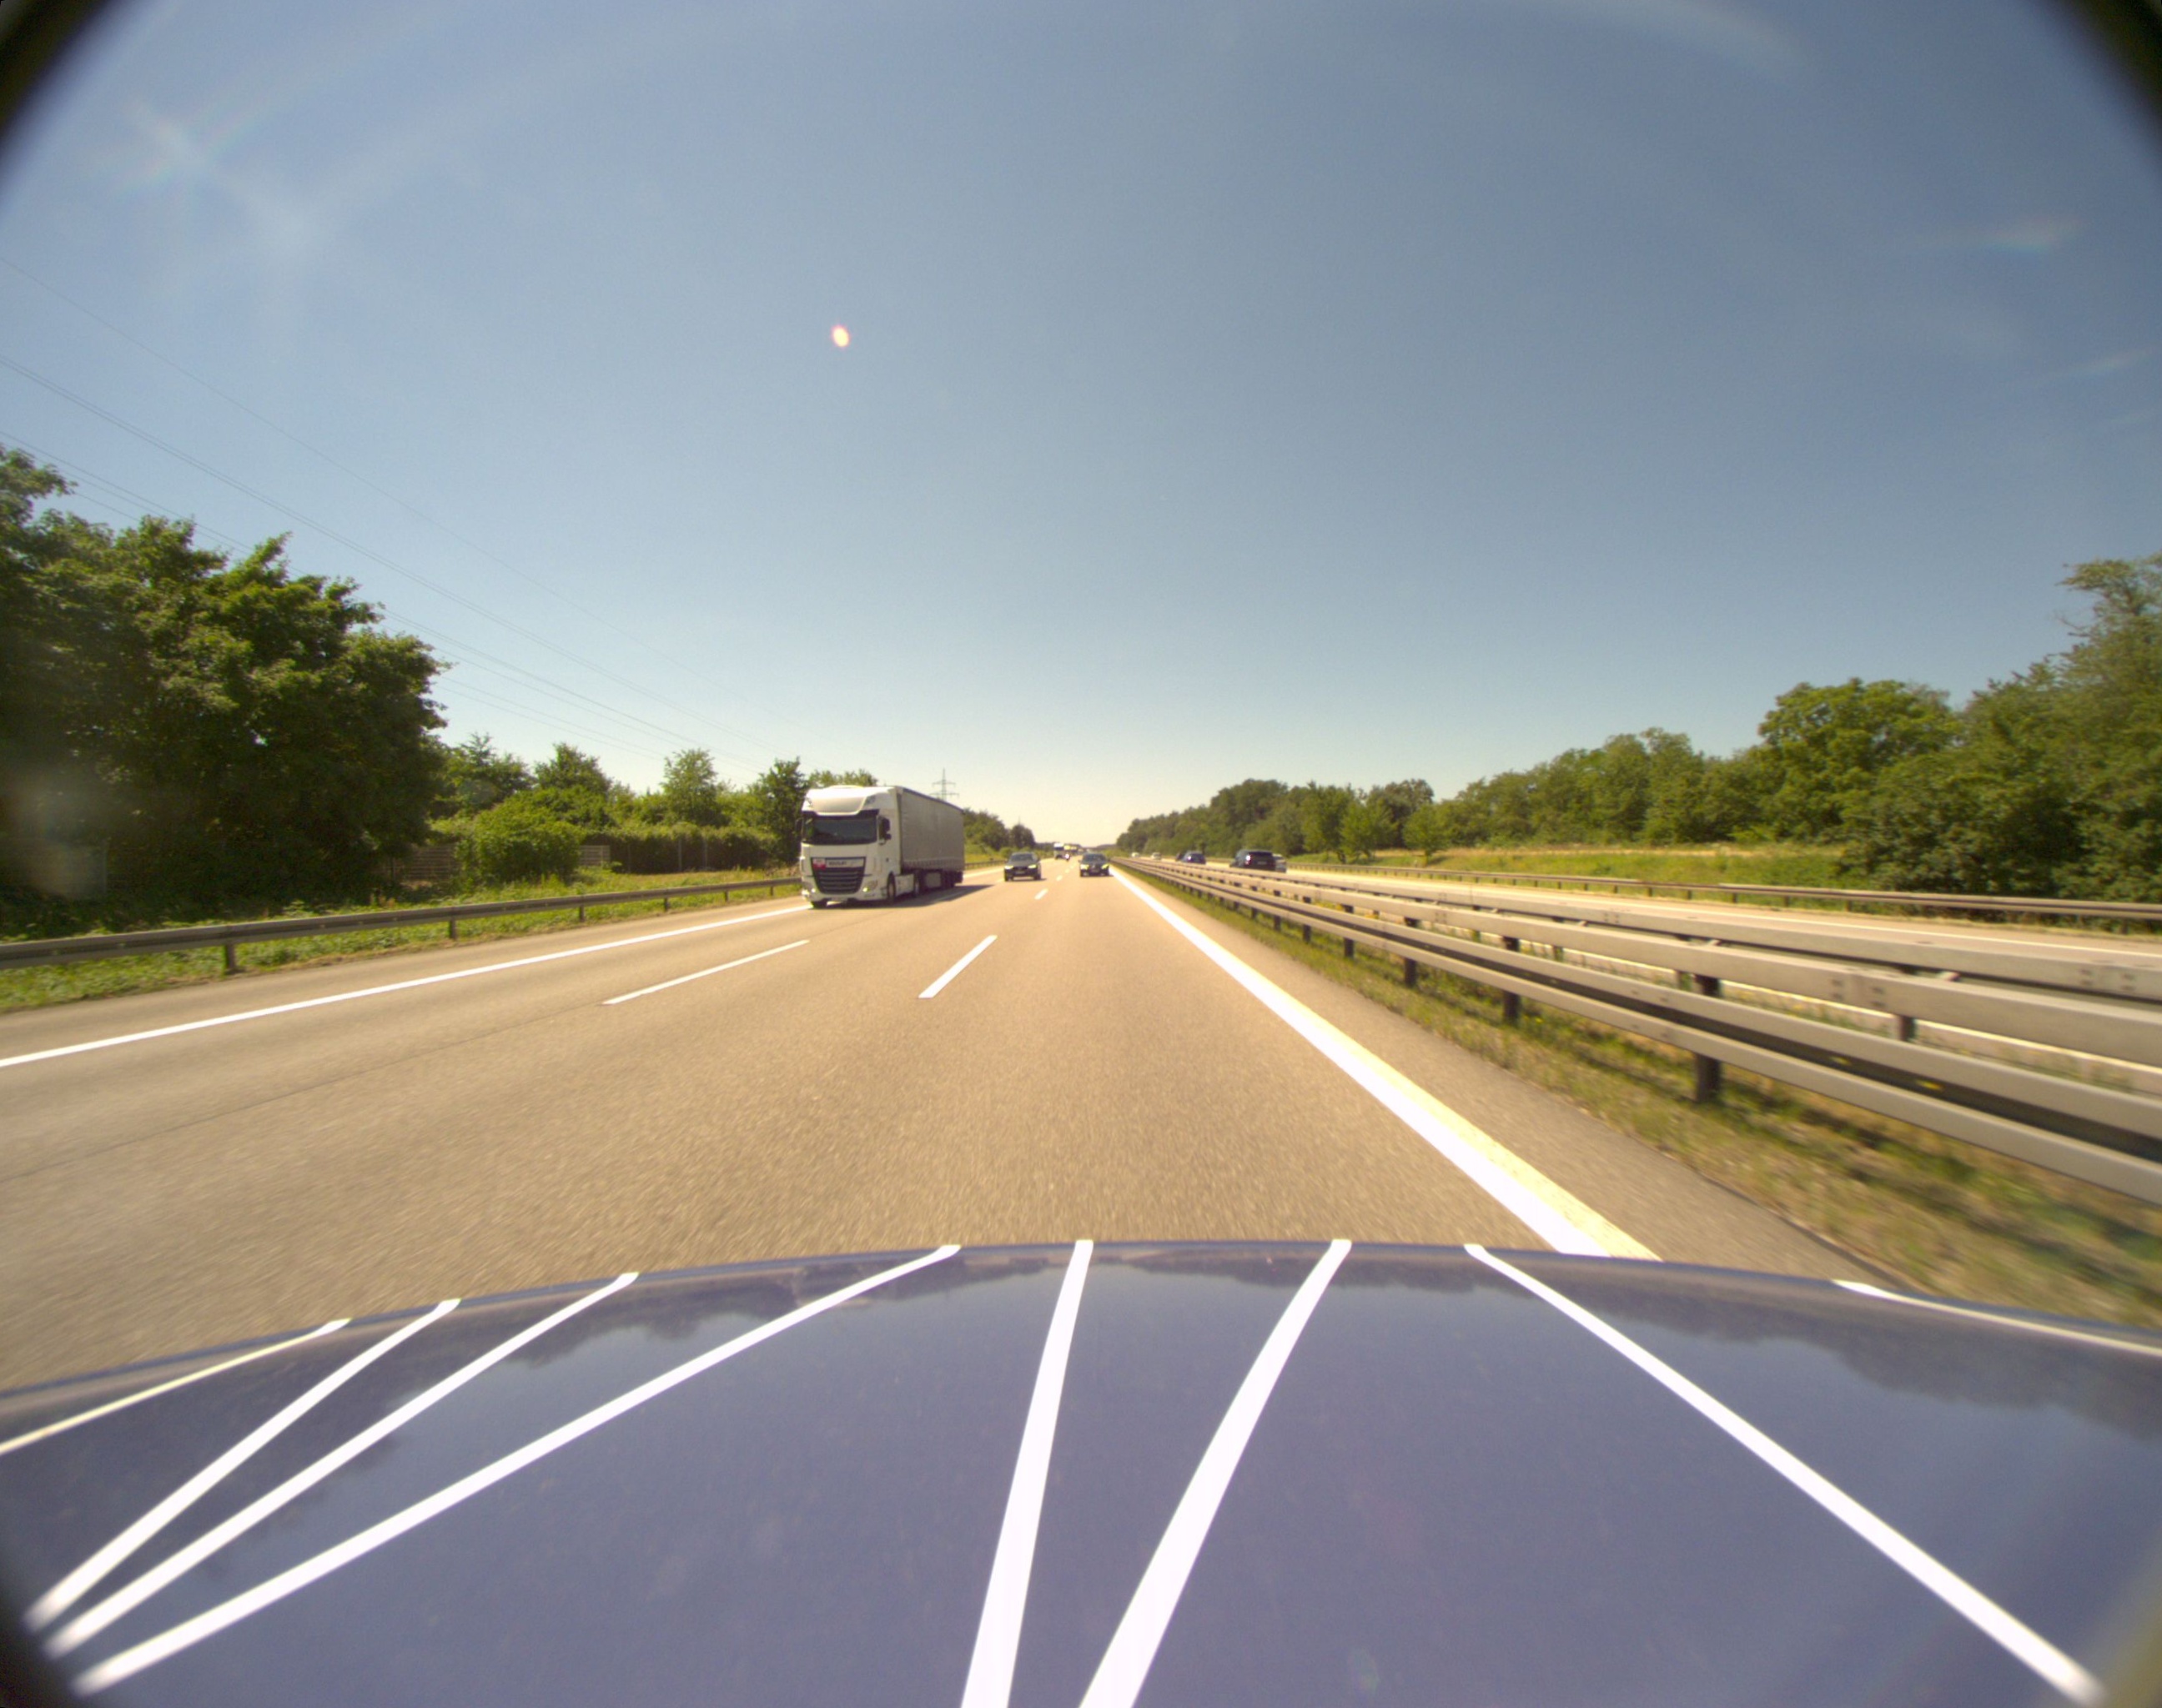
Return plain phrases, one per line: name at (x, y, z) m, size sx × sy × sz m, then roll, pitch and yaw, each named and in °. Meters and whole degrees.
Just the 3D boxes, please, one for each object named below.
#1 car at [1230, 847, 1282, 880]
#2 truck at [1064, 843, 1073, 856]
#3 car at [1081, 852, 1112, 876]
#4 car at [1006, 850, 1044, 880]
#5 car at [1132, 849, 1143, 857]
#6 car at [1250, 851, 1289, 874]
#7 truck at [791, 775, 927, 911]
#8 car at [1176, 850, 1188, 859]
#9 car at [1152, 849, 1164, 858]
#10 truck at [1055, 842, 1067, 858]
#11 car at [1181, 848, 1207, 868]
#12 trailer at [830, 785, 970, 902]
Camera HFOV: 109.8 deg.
car at (9.854, 0.502, 43.149) m, size 1.964 × 1.761 × 4.442 m, roll 0°, pitch 1°, yaw 1°
truck at (-4.439, -1.649, 264.198) m, size 2.978 × 4.240 × 12.610 m, roll 0°, pitch 1°, yaw 0°
car at (0.936, 0.584, 48.270) m, size 1.808 × 1.385 × 3.999 m, roll -2°, pitch 1°, yaw 0°
car at (-3.233, 0.599, 44.649) m, size 1.878 × 1.614 × 4.004 m, roll -1°, pitch 0°, yaw 0°
car at (11.246, -0.167, 151.511) m, size 1.799 × 1.483 × 4.238 m, roll 1°, pitch 1°, yaw 1°
car at (13.749, 0.591, 55.623) m, size 1.884 × 1.557 × 4.192 m, roll 1°, pitch 1°, yaw 1°
truck at (-7.446, -0.364, 26.414) m, size 2.743 × 4.096 × 6.124 m, roll -2°, pitch 1°, yaw 1°
car at (18.701, 0.044, 140.654) m, size 1.737 × 1.584 × 3.902 m, roll 1°, pitch 1°, yaw 1°
car at (15.037, -0.104, 148.325) m, size 1.840 × 1.576 × 3.889 m, roll 1°, pitch 1°, yaw 1°
truck at (-5.063, -0.908, 191.822) m, size 2.573 × 3.871 × 5.722 m, roll -2°, pitch 1°, yaw 0°
car at (10.105, 0.336, 68.041) m, size 1.771 × 1.740 × 3.985 m, roll 1°, pitch 1°, yaw 1°
trailer at (-7.363, -0.418, 33.457) m, size 2.743 × 4.083 × 13.121 m, roll -2°, pitch 0°, yaw 1°
